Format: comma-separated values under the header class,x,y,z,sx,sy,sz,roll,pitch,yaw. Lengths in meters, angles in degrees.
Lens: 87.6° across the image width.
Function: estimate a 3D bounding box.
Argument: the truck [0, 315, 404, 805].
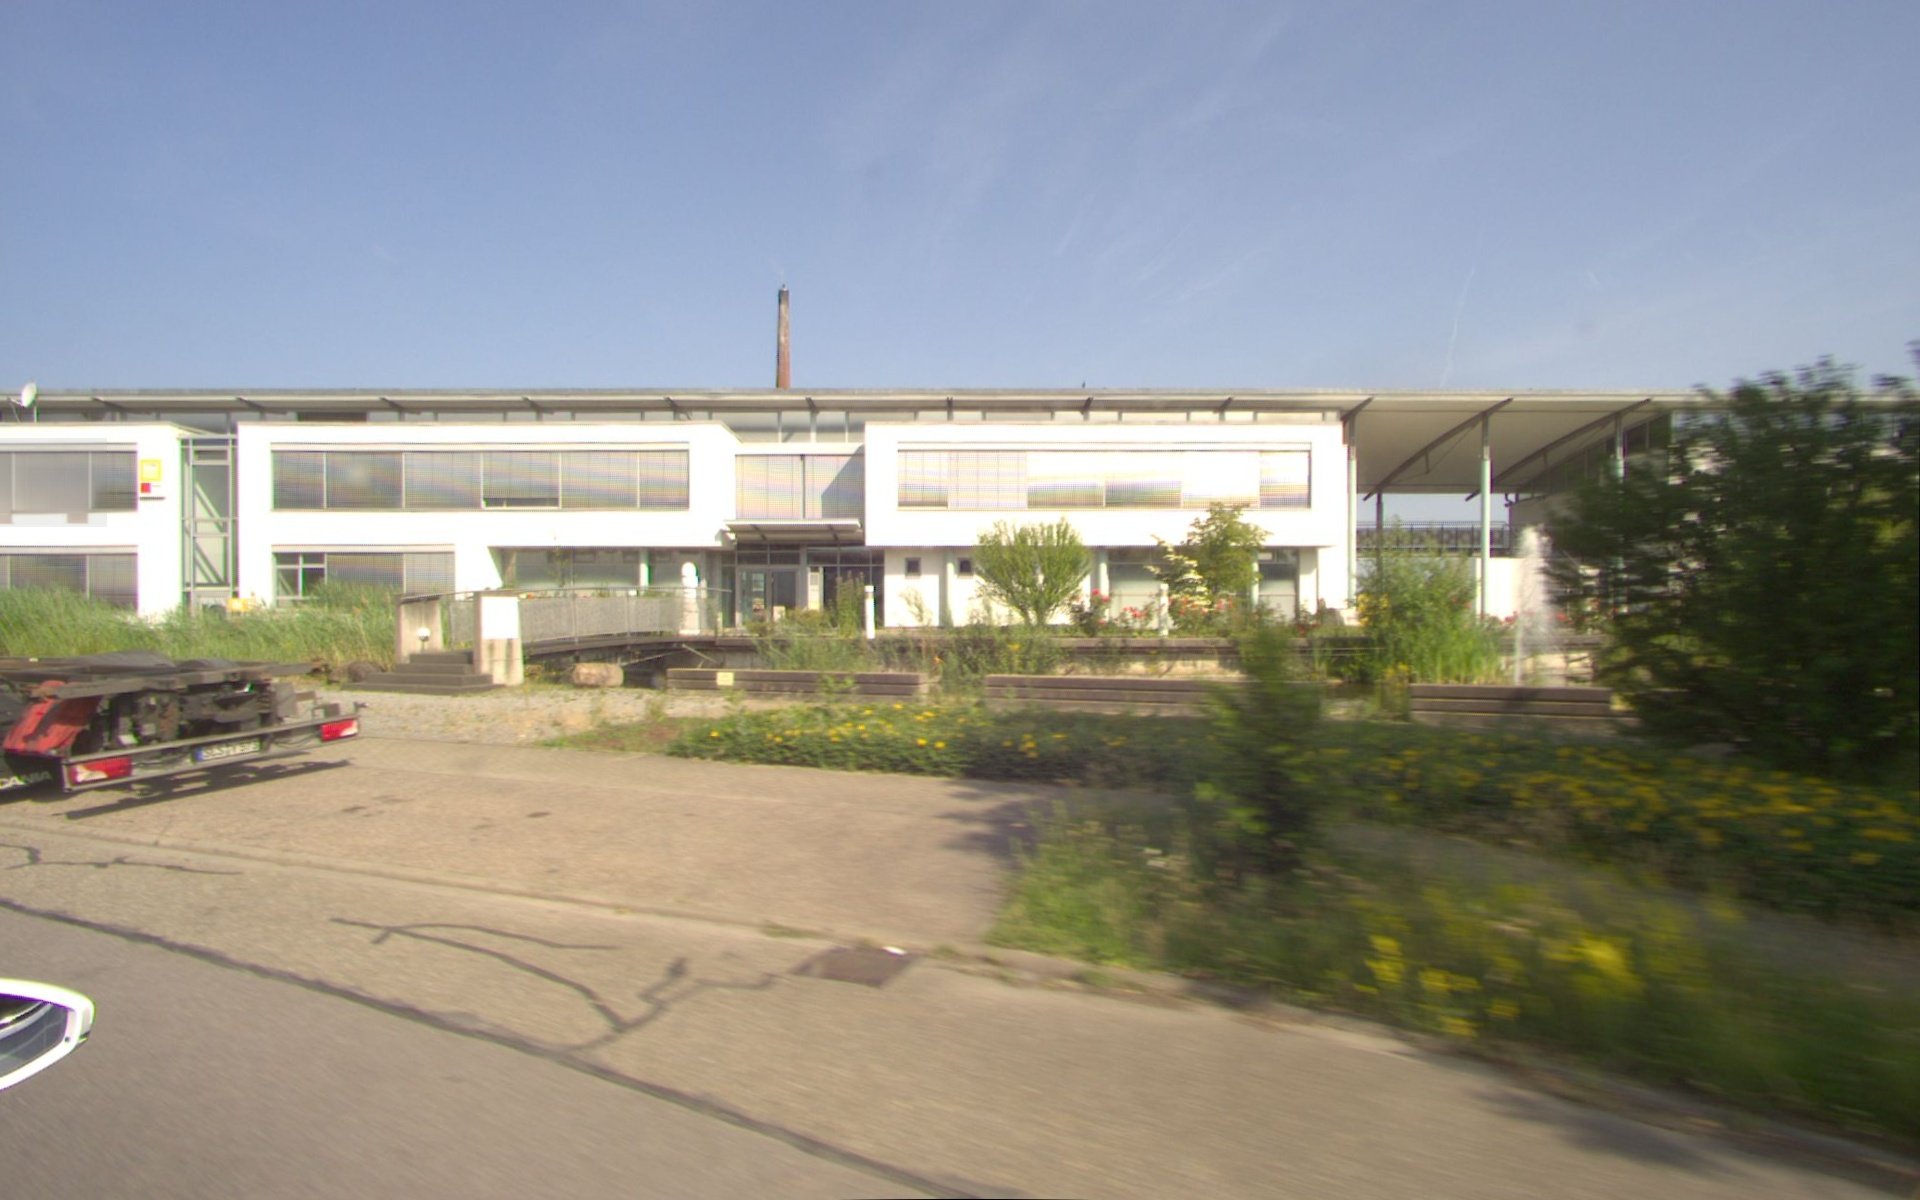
class,x,y,z,sx,sy,sz,roll,pitch,yaw
truck,-10.628,-0.233,10.533,9.591,3.584,2.888,-1,2,23
